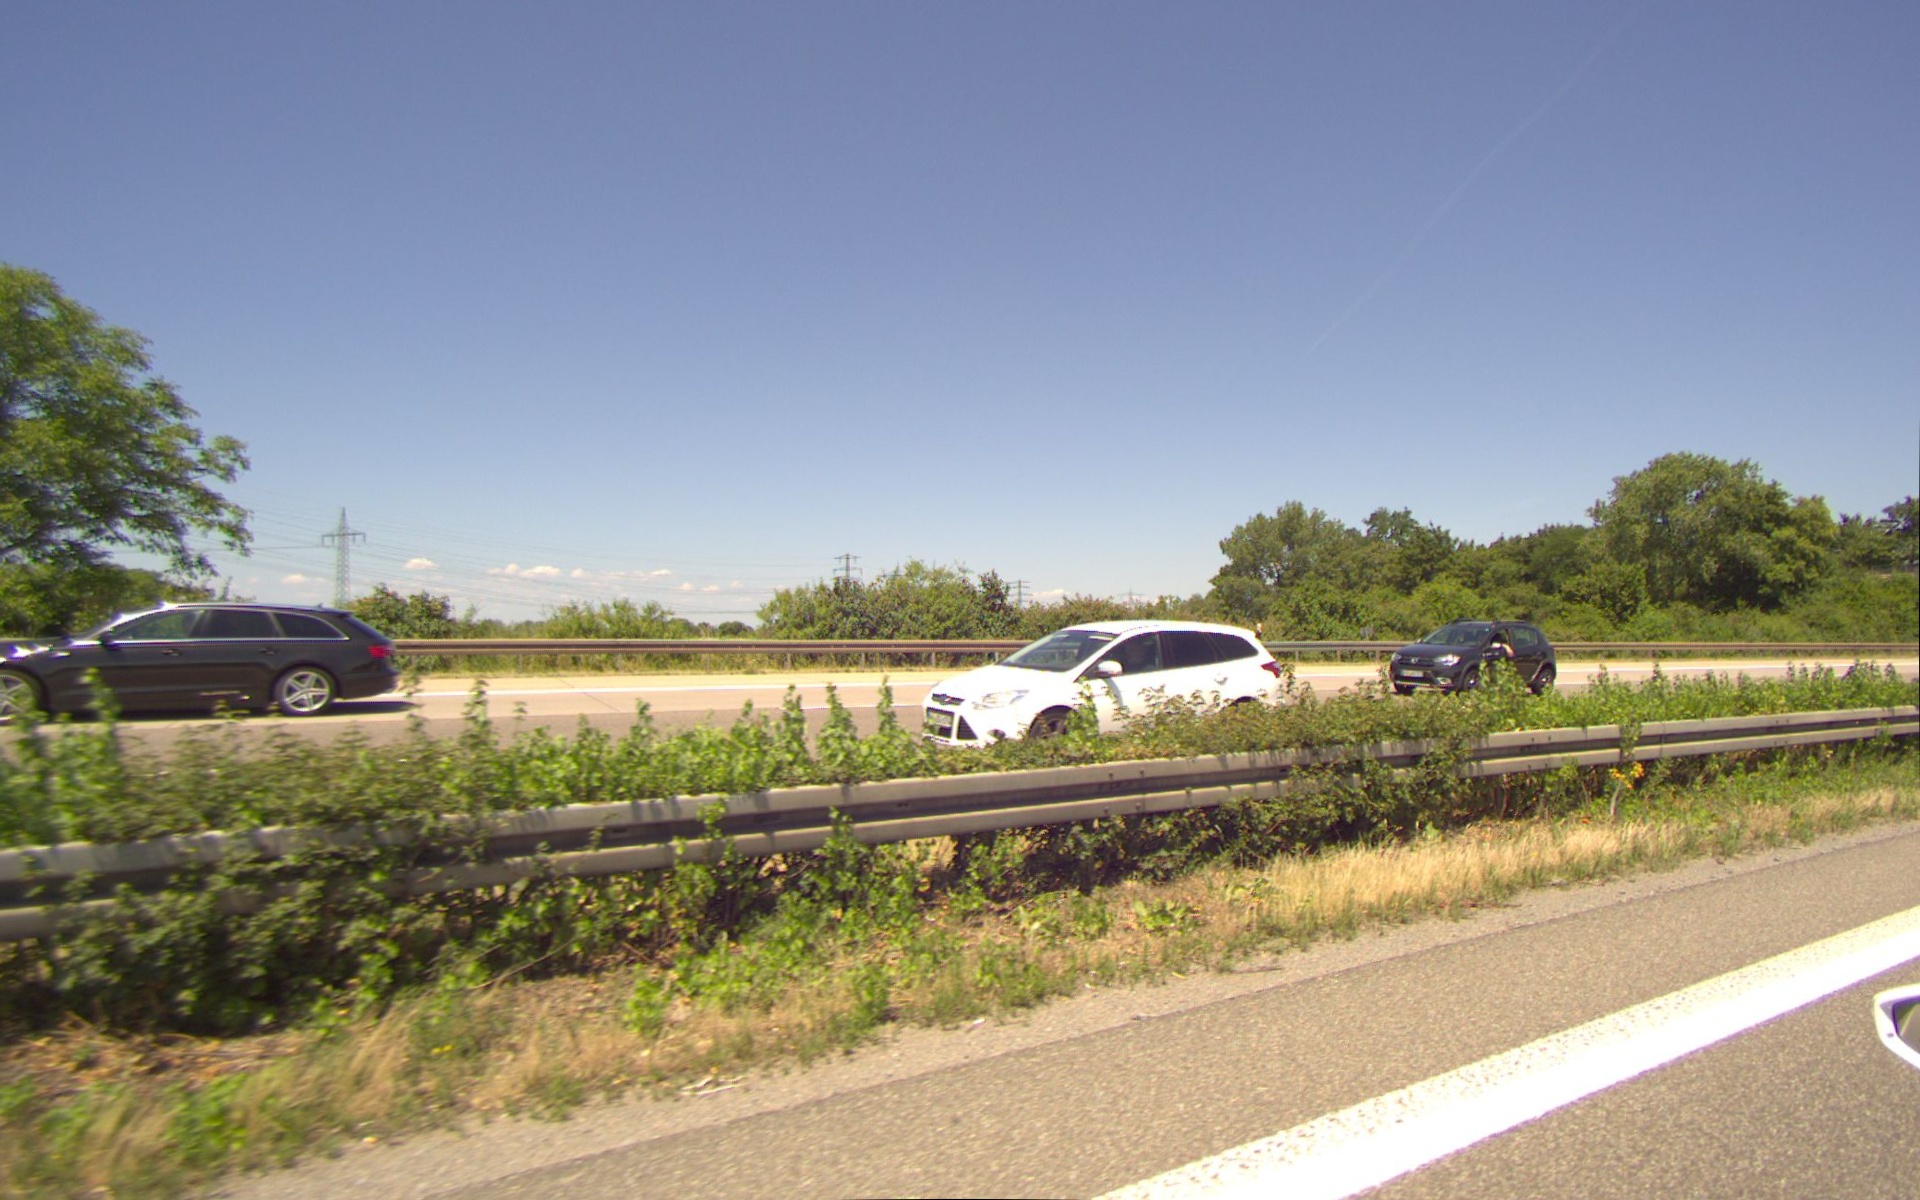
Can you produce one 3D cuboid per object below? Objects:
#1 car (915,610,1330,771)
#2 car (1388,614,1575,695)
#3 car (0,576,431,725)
[{"bbox_3d":[1.953,0.944,11.453,4.674,1.509,1.676,2,-1,-30],"label":"car"},{"bbox_3d":[11.169,1.145,21.442,4.018,1.581,1.637,2,-1,-30],"label":"car"},{"bbox_3d":[-9.605,0.626,13.185,4.605,1.683,1.773,2,-1,-32],"label":"car"}]
